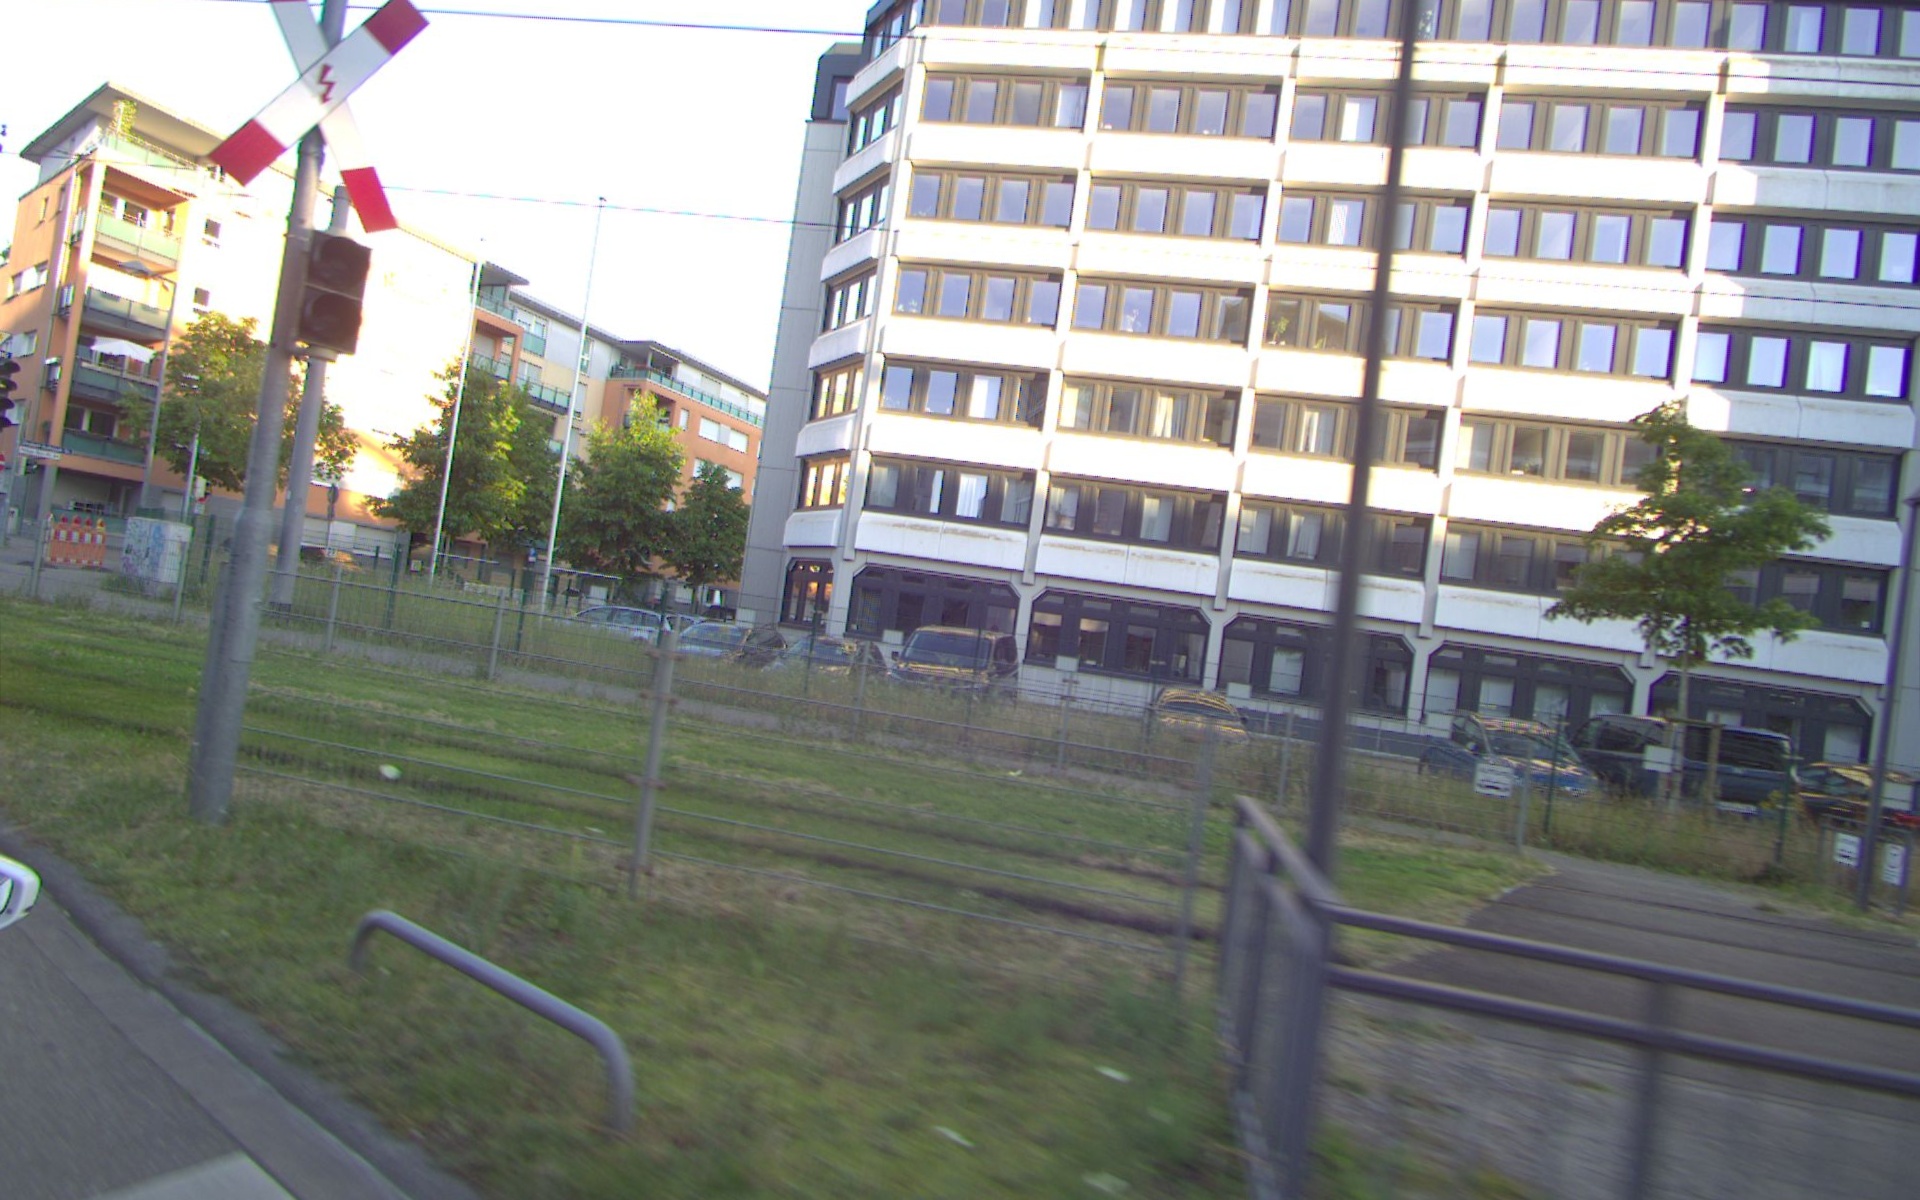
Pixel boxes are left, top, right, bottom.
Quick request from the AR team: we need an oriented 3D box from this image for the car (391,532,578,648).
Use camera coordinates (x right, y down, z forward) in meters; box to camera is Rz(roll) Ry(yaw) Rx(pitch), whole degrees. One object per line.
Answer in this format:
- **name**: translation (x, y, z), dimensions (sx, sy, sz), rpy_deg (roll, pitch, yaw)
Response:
- **car**: translation (-10.862, -0.248, 22.932), dimensions (3.938, 2.036, 1.996), rpy_deg (7, -2, 36)

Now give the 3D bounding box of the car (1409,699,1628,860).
- **car**: translation (9.326, 2.896, 17.216), dimensions (1.962, 2.036, 4.006), rpy_deg (8, -2, 12)

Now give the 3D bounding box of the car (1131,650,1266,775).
- **car**: translation (4.429, 2.009, 18.640), dimensions (1.962, 1.769, 4.006), rpy_deg (8, -2, 15)

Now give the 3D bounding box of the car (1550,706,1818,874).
- **car**: translation (11.675, 2.957, 16.620), dimensions (1.962, 2.036, 4.007), rpy_deg (7, -3, 12)

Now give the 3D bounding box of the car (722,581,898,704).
- **car**: translation (-2.945, 0.933, 20.750), dimensions (1.962, 2.036, 4.006), rpy_deg (8, -2, 15)

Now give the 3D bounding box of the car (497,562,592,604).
- **car**: translation (-22.835, -0.922, 55.262), dimensions (4.729, 1.613, 2.000), rpy_deg (7, -2, 25)

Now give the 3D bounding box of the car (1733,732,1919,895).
- **car**: translation (14.664, 3.362, 15.966), dimensions (1.962, 2.036, 4.282), rpy_deg (7, -3, 12)

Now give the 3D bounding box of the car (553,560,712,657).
- **car**: translation (-9.014, 0.219, 27.583), dimensions (3.938, 2.036, 1.996), rpy_deg (7, -2, 36)

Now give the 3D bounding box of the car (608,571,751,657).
- **car**: translation (-8.617, 0.411, 30.861), dimensions (3.938, 2.036, 1.996), rpy_deg (7, -2, 36)

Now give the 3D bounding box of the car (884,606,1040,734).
- **car**: translation (0.175, 1.408, 20.083), dimensions (1.962, 2.036, 4.006), rpy_deg (8, -2, 15)

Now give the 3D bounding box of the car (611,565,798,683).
- **car**: translation (-5.291, 0.618, 21.453), dimensions (1.962, 2.036, 4.006), rpy_deg (8, -2, 15)
